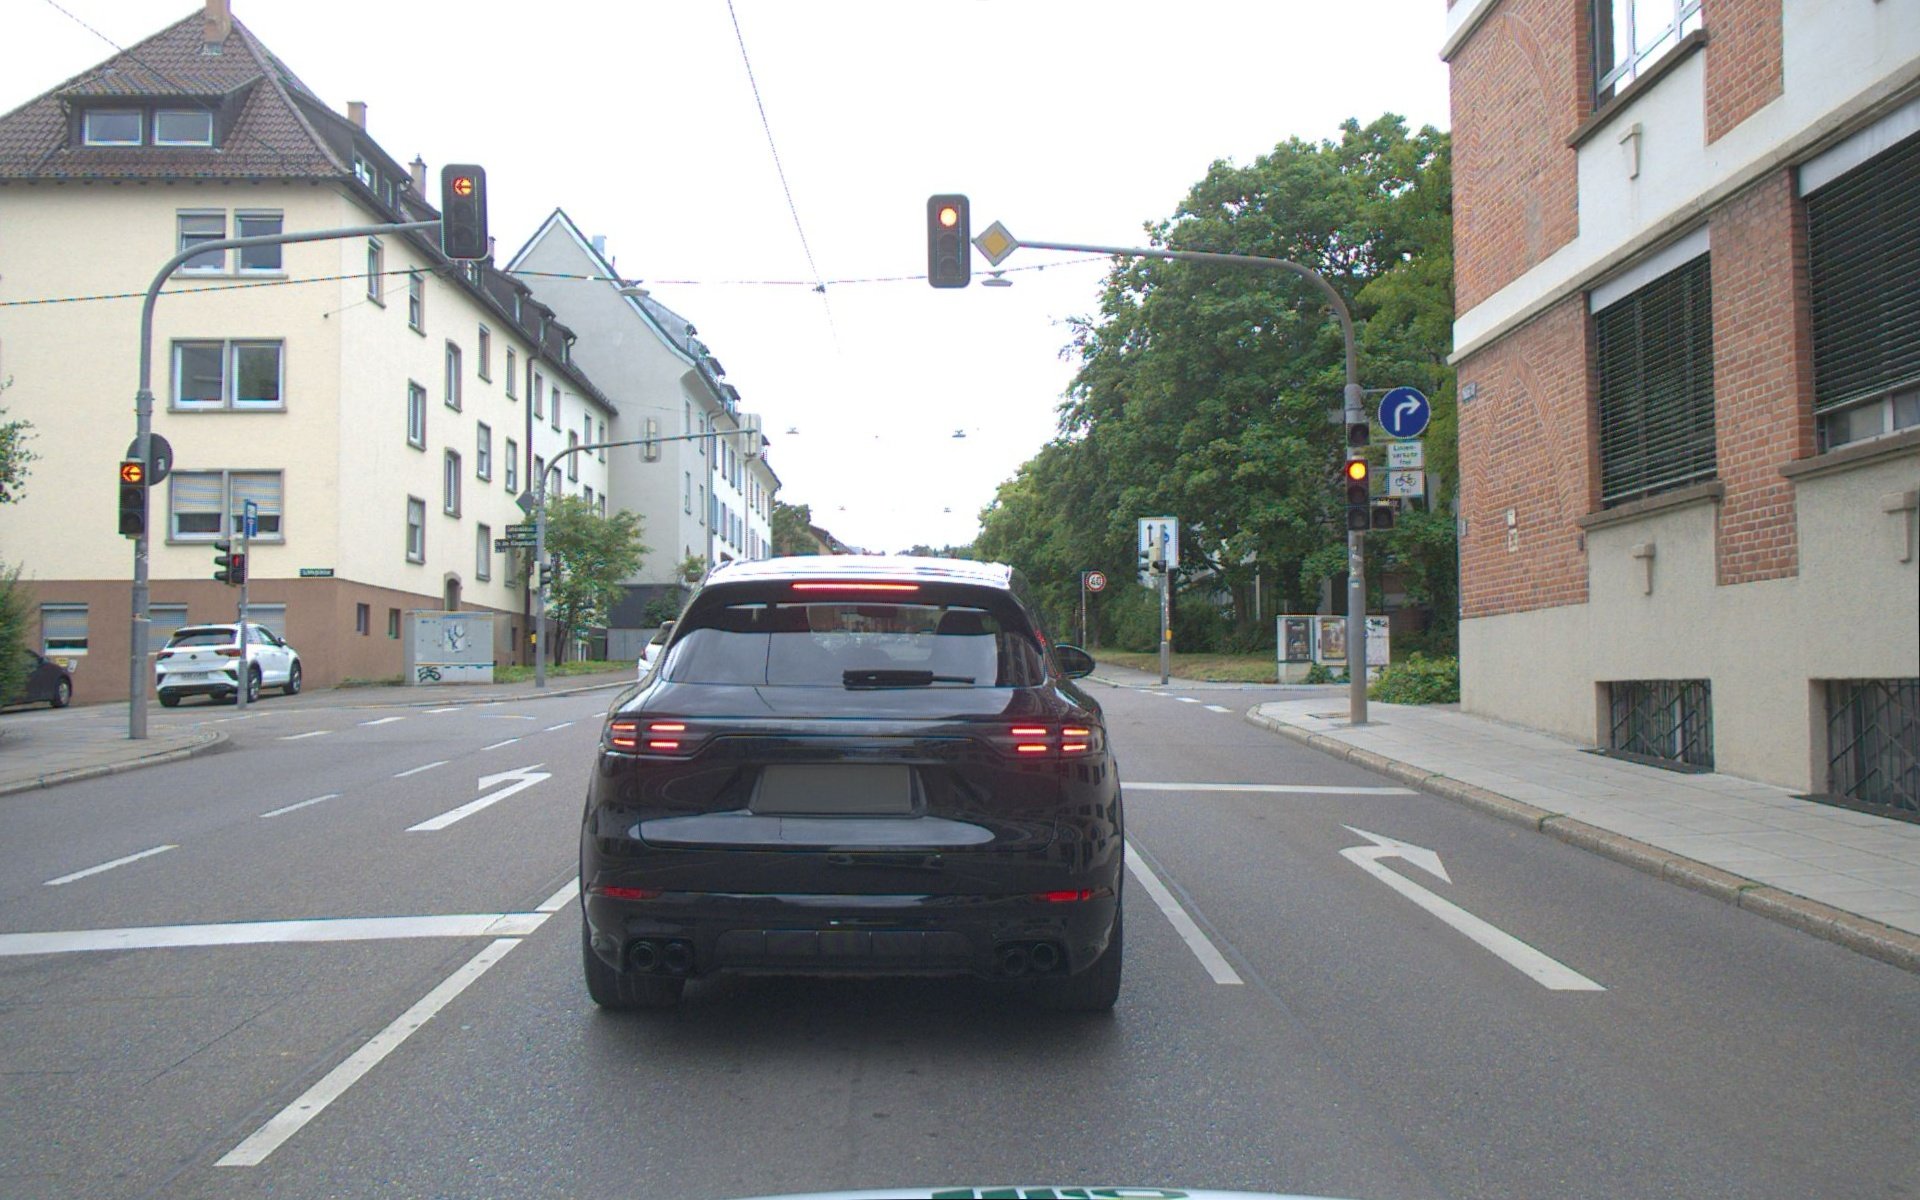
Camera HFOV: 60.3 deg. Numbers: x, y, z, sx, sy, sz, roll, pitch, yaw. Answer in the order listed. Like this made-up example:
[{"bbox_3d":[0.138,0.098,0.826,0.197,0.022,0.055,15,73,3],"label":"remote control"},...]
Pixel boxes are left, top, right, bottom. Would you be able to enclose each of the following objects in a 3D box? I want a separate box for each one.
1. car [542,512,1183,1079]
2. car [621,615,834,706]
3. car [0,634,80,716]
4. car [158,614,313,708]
[{"bbox_3d":[-0.324,0.615,7.120,1.953,1.726,3.999,1,0,-1],"label":"car"},{"bbox_3d":[-4.336,1.097,31.244,1.663,1.579,3.867,1,0,40],"label":"car"},{"bbox_3d":[-19.706,1.546,33.414,1.636,1.573,4.100,-3,0,-1],"label":"car"},{"bbox_3d":[-14.701,1.189,33.780,1.638,1.691,3.995,-3,0,-5],"label":"car"}]
